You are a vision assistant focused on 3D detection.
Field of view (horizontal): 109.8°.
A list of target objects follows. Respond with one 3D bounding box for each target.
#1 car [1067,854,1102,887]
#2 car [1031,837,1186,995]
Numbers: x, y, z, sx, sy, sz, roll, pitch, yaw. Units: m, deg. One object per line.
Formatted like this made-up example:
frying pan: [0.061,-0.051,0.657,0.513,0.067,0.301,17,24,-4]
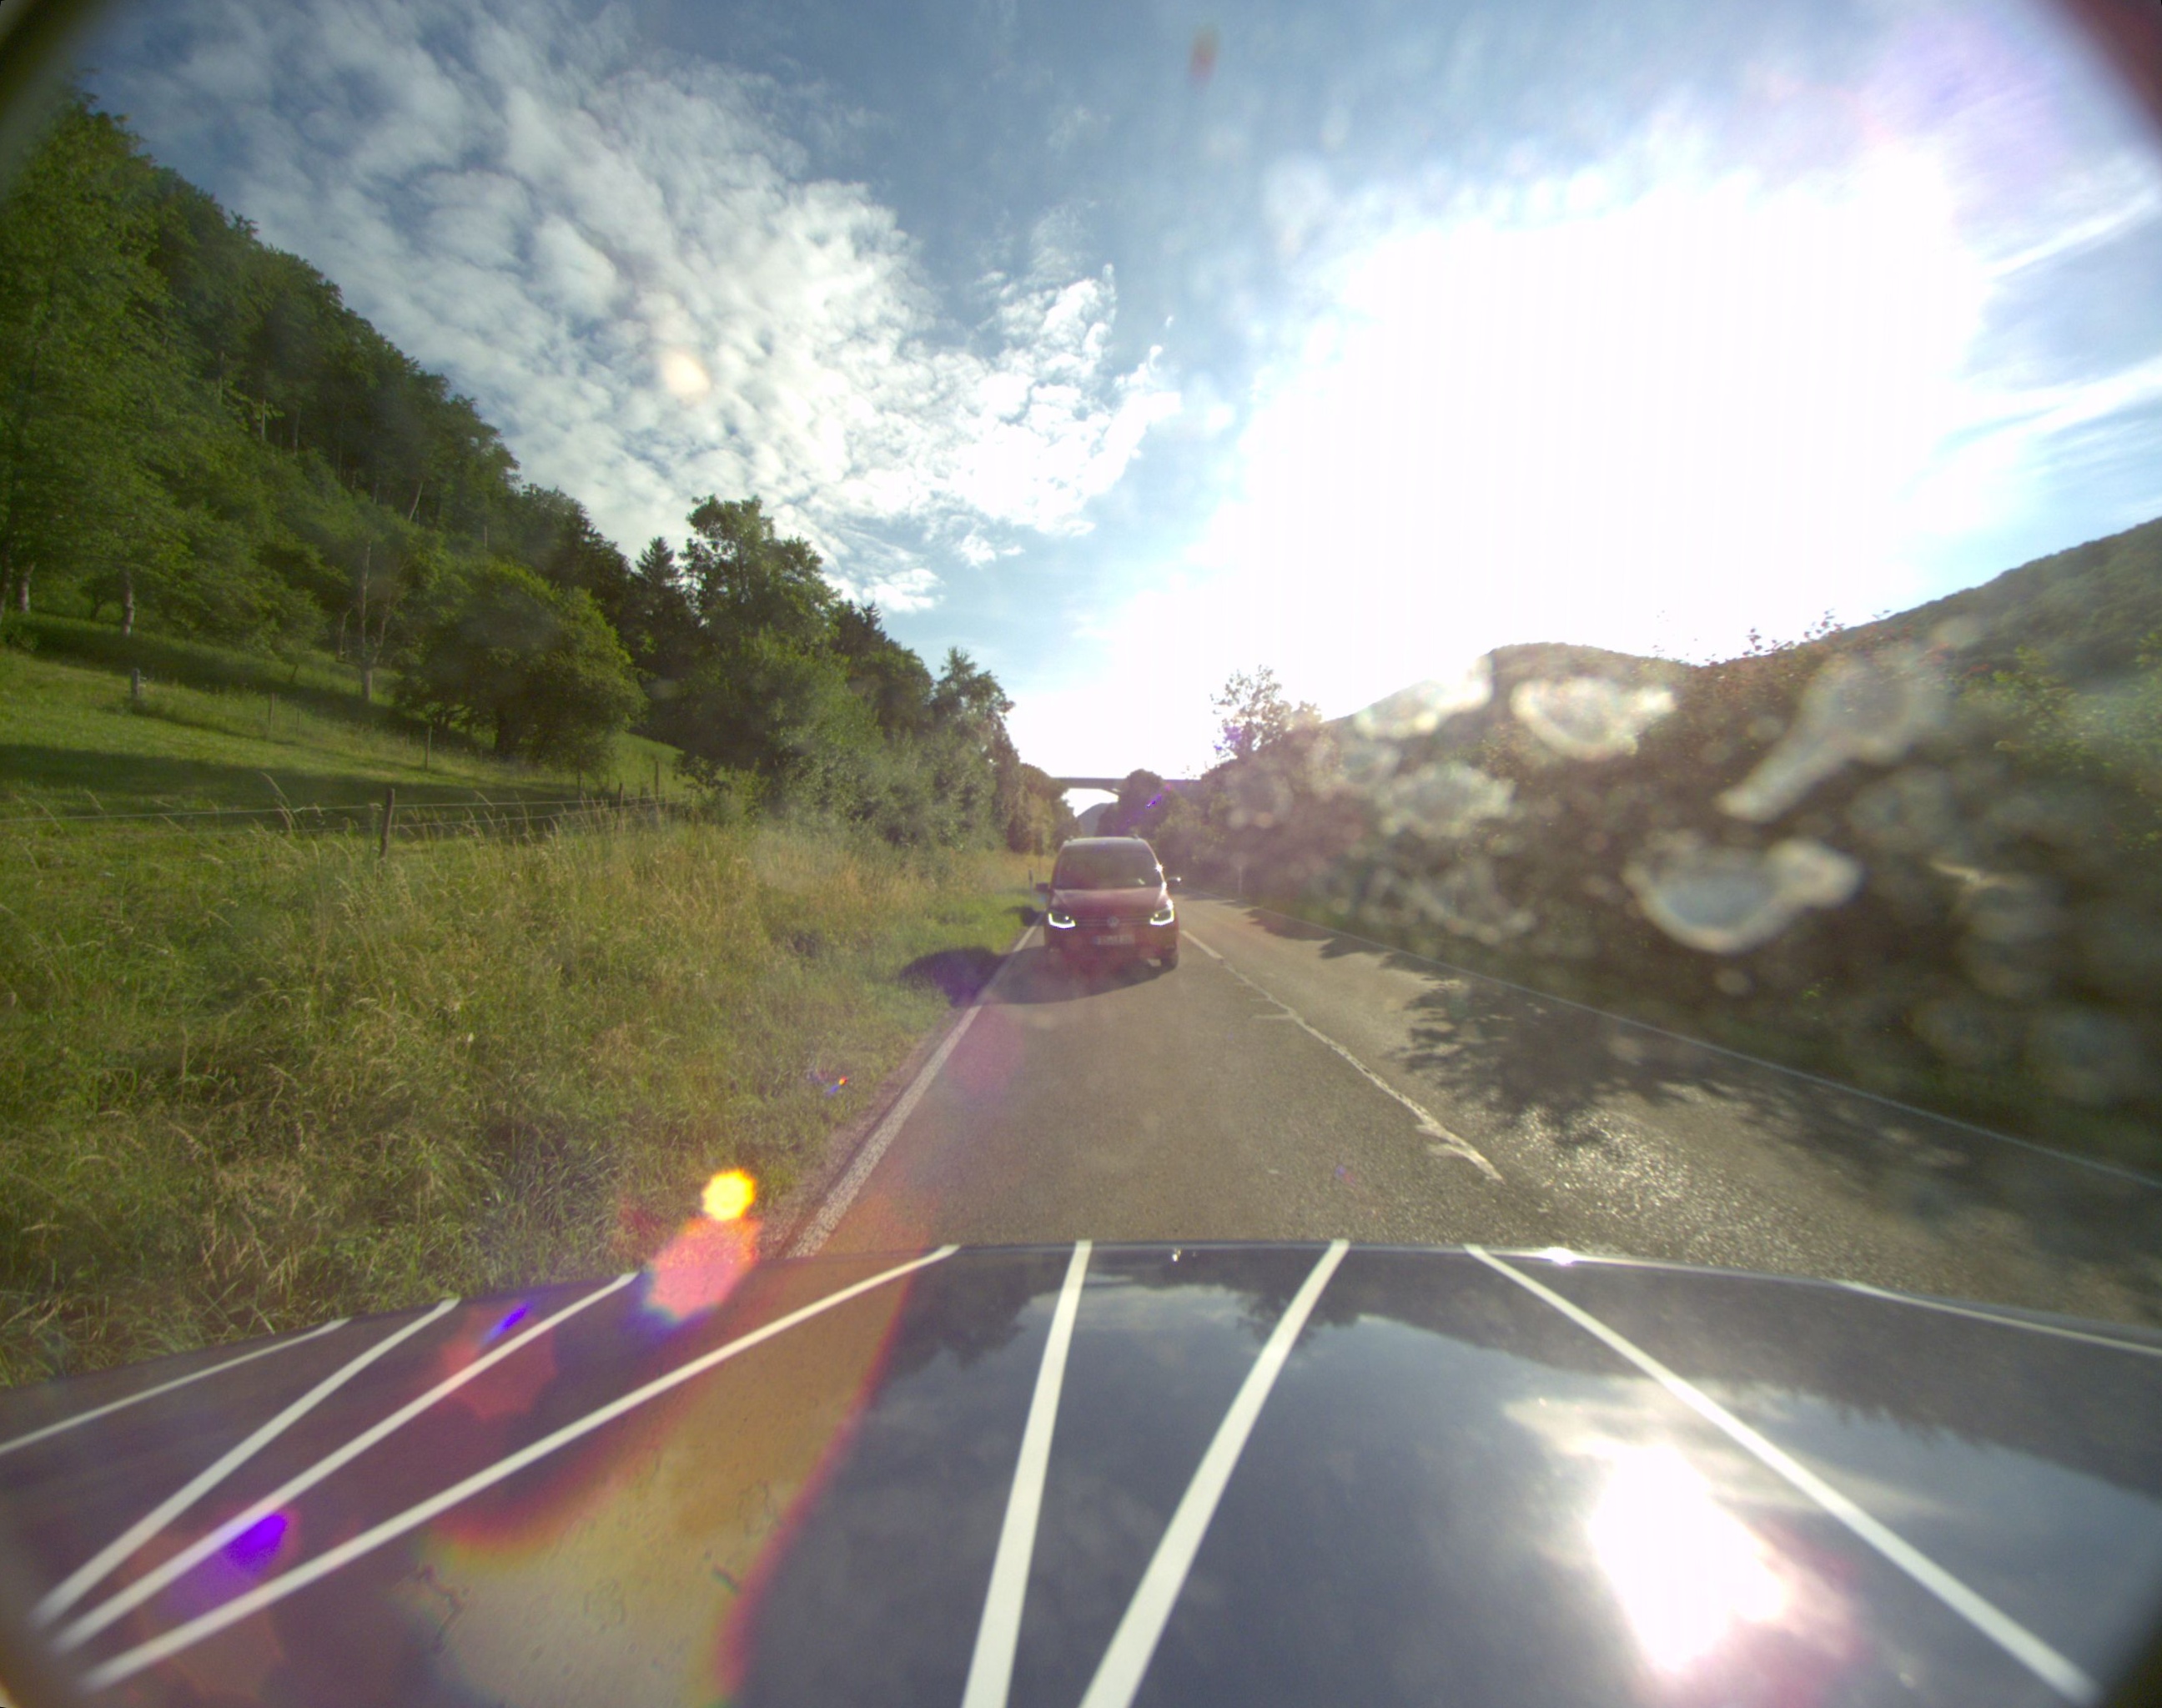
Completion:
car: [0.202,0.835,40.842,1.753,1.608,4.288,-2,1,1]
car: [0.346,0.712,11.088,1.753,1.800,4.288,-2,1,1]
